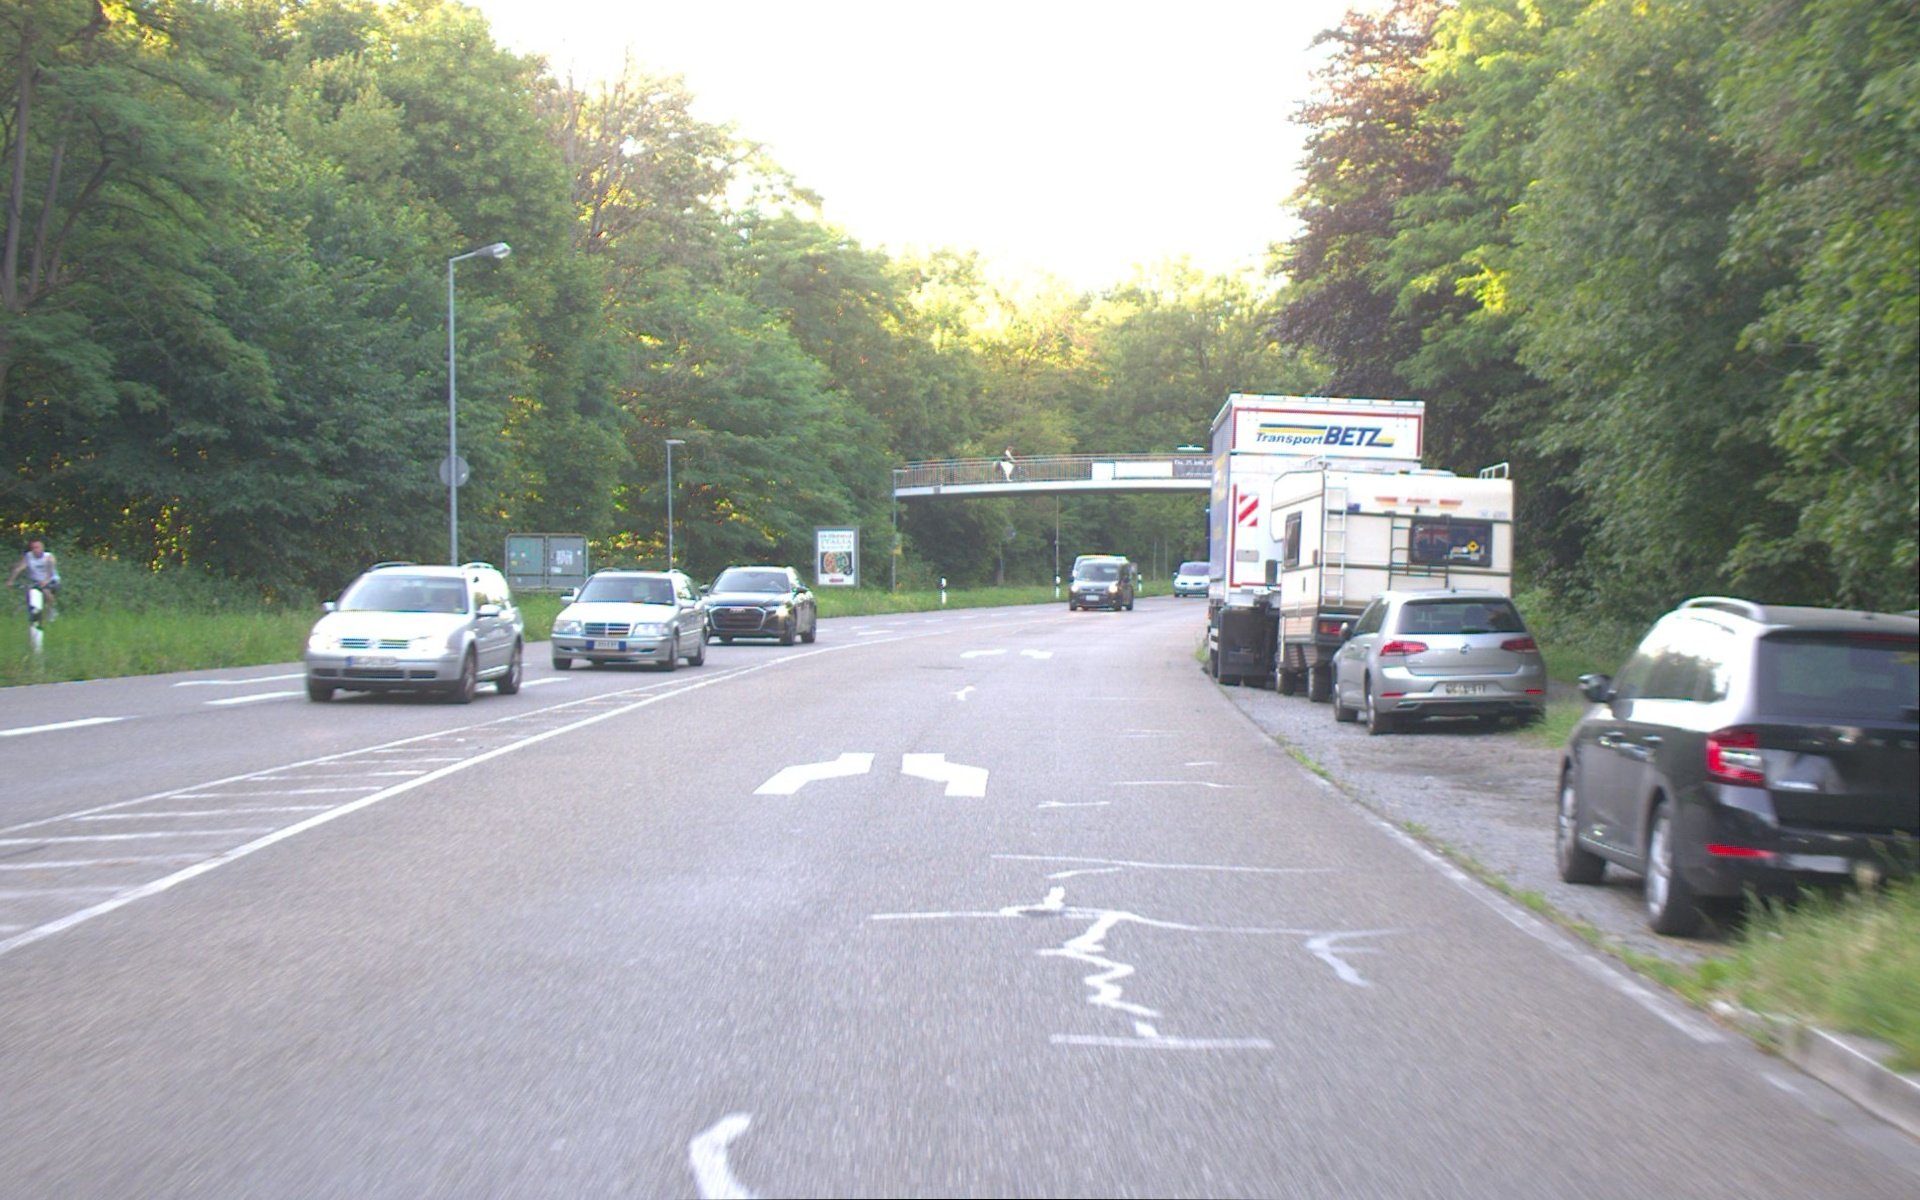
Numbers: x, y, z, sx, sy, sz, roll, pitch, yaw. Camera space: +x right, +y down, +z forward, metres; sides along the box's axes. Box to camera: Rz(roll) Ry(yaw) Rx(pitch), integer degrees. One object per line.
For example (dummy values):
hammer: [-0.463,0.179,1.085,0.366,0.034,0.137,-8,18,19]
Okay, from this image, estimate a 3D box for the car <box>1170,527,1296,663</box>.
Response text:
car: [4.710,-0.112,59.595,1.994,2.182,4.927,2,1,4]

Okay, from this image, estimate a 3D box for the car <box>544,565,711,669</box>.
car: [-4.725,0.212,49.423,1.720,1.392,4.374,0,1,3]

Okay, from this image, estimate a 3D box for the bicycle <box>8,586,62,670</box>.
bicycle: [-14.042,0.411,52.202,0.629,1.213,2.262,-1,1,-11]

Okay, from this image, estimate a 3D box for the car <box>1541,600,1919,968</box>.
car: [3.810,0.755,15.774,1.663,1.401,3.942,3,1,2]

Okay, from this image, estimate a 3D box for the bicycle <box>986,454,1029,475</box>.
bicycle: [2.168,-6.189,157.143,1.845,0.946,0.550,1,1,11]

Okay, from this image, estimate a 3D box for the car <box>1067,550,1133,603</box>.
car: [4.966,-0.831,121.411,1.844,1.794,4.746,1,1,8]

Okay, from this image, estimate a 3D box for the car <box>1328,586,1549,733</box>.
car: [4.861,0.574,35.407,1.698,1.401,4.076,0,1,0]

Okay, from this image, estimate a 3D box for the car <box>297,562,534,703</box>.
car: [-5.873,0.315,37.521,1.716,1.441,4.173,0,1,3]

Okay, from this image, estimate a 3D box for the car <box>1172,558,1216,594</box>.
car: [11.516,-1.178,168.773,1.844,1.729,3.999,1,1,8]

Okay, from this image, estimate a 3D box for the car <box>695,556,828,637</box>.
car: [-3.723,-0.086,65.277,1.892,1.435,4.769,1,1,4]

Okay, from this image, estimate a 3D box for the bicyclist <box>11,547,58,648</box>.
bicyclist: [-14.054,-0.048,52.211,0.620,1.506,0.847,-1,2,-11]

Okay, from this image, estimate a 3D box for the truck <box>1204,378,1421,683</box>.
truck: [4.999,-0.986,50.295,2.658,4.014,9.721,1,1,3]

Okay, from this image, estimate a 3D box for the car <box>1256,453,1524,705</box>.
car: [5.170,-0.264,42.253,2.408,2.848,5.933,1,0,-1]
